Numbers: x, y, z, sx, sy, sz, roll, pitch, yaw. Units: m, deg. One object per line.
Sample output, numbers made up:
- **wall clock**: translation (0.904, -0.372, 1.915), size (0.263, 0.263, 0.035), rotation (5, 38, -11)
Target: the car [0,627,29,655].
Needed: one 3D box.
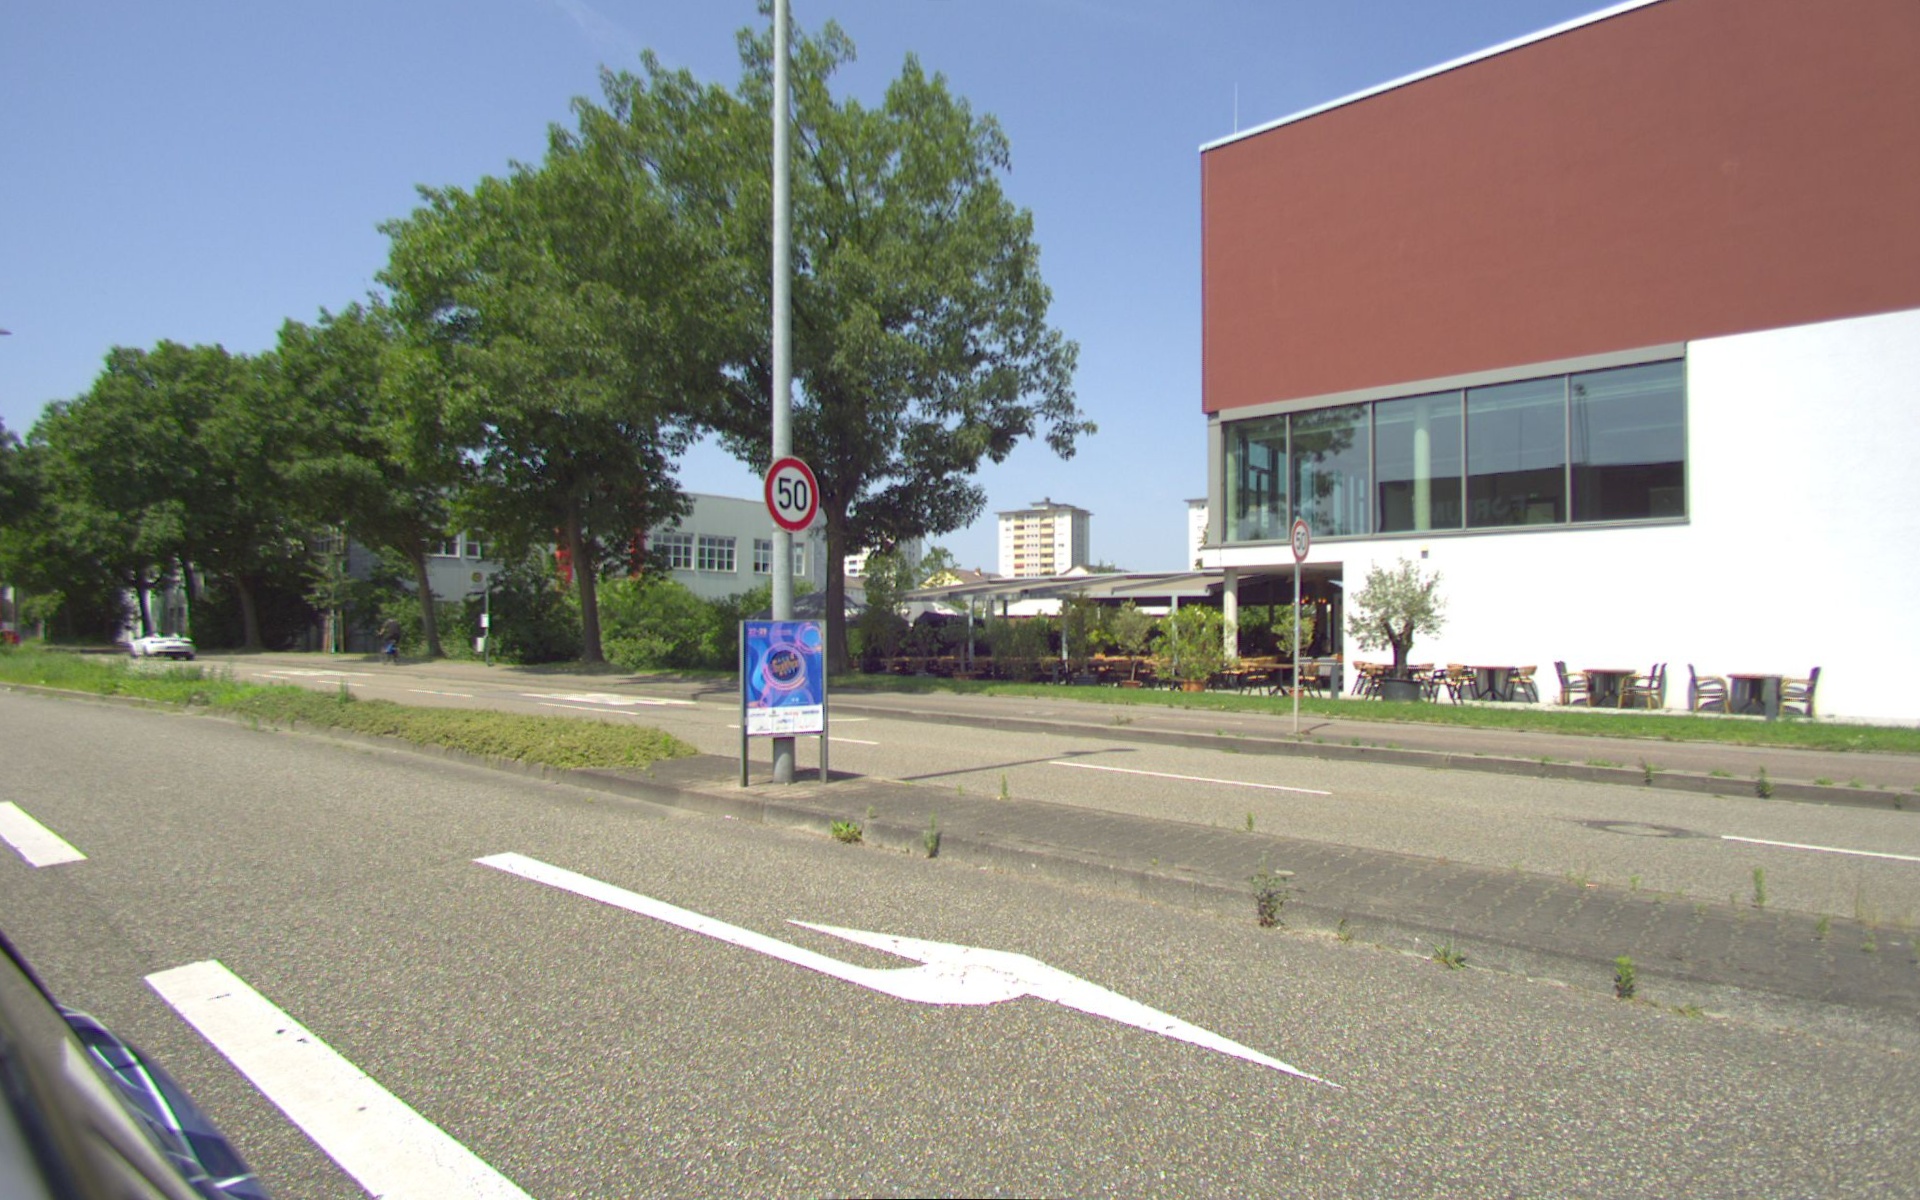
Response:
- **car**: translation (-57.869, 2.462, 61.217), size (3.881, 1.612, 1.670), rotation (-1, -5, 40)

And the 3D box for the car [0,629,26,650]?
- **car**: translation (-70.460, 2.903, 74.695), size (3.889, 1.464, 1.688), rotation (-2, -5, 41)

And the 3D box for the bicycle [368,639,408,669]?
- **bicycle**: translation (-20.733, 1.940, 36.678), size (1.883, 1.059, 0.648), rotation (-1, -2, 41)

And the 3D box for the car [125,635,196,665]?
- **car**: translation (-36.677, 2.267, 46.377), size (4.298, 1.272, 1.700), rotation (-1, -4, 40)

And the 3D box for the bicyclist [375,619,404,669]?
- **bicyclist**: translation (-20.649, 1.587, 36.616), size (0.927, 1.783, 0.643), rotation (-2, -2, 41)
